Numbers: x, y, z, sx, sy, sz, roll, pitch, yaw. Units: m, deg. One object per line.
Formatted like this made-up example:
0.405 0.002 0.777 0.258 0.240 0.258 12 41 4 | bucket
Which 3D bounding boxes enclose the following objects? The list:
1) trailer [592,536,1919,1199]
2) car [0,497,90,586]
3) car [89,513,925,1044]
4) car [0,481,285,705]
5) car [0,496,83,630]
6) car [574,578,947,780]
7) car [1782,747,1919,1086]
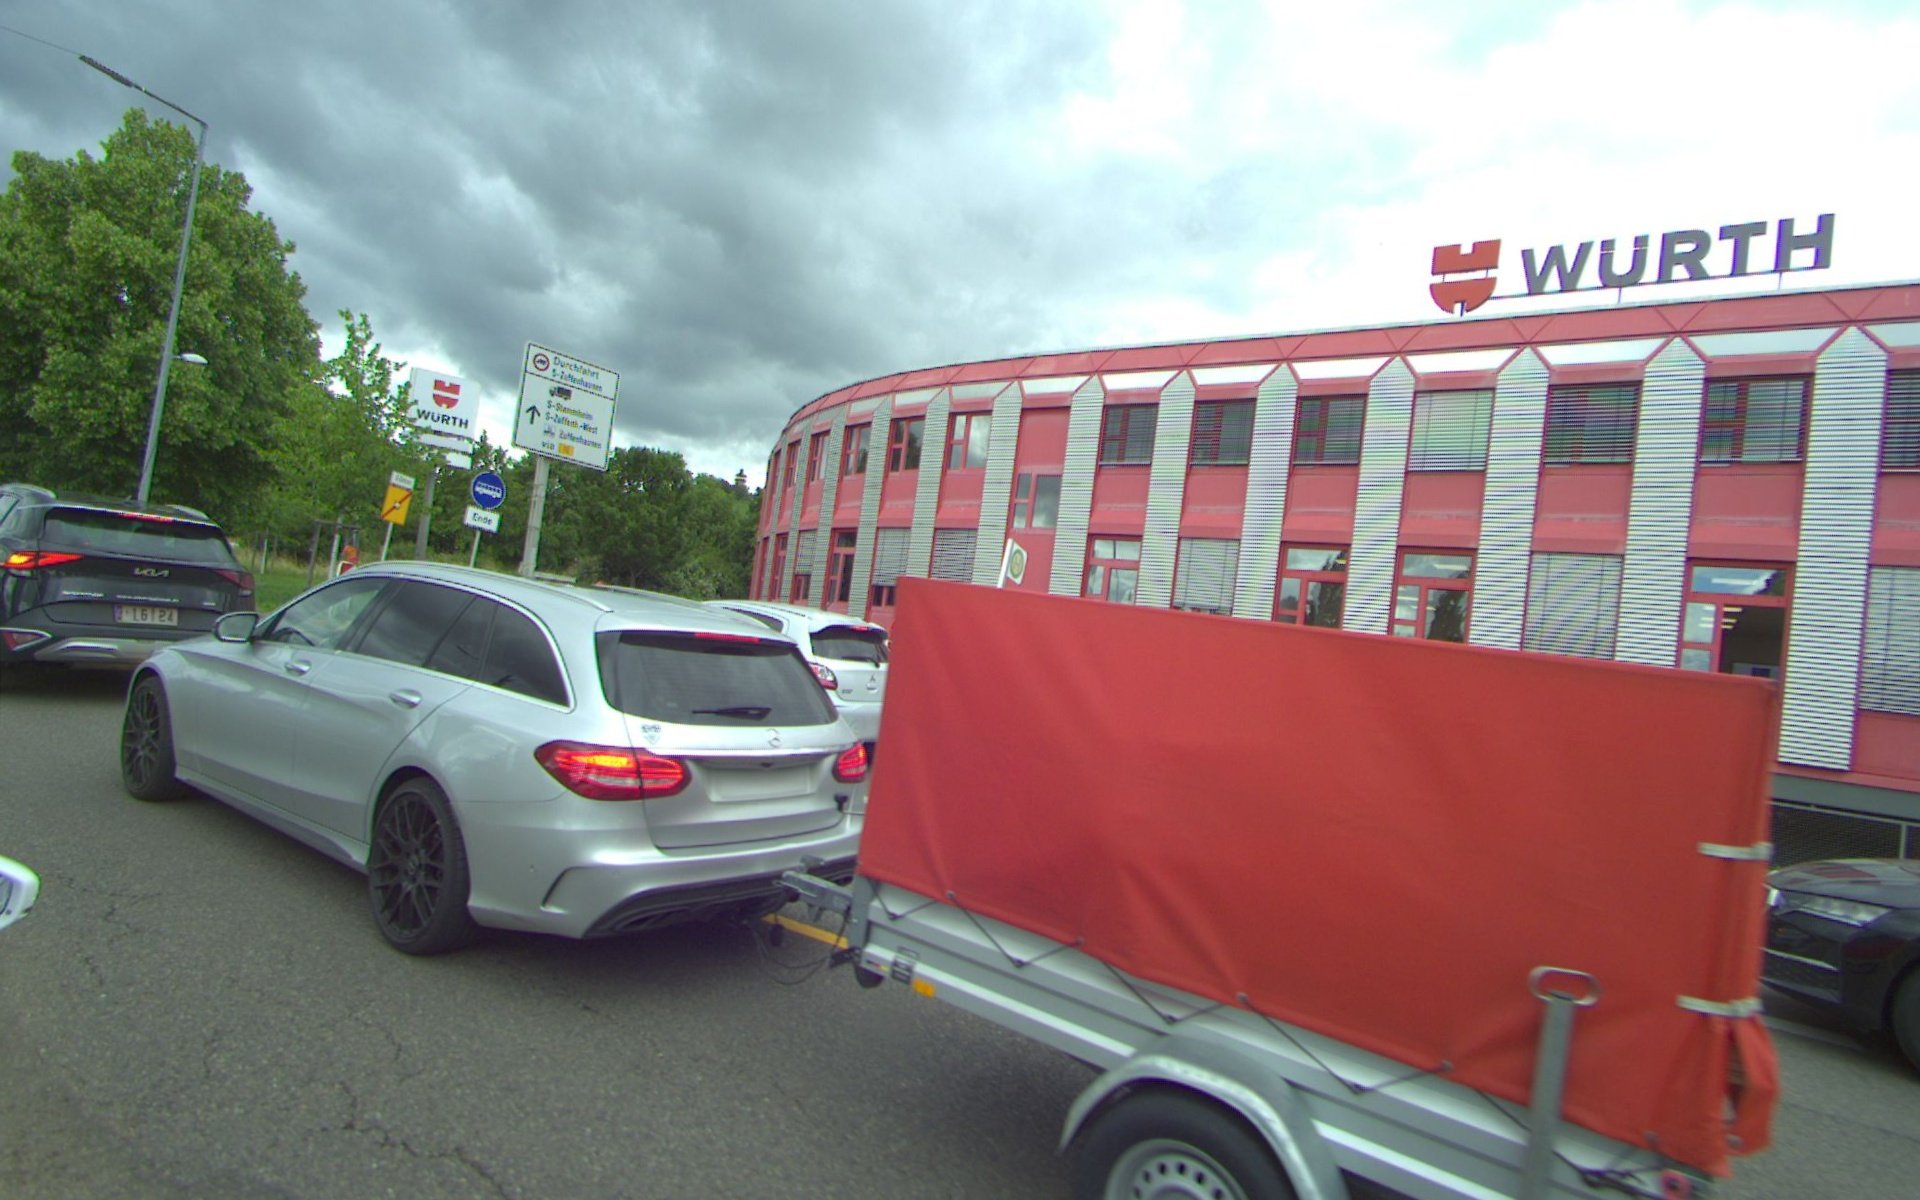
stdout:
0.640 0.824 2.899 3.250 1.613 1.410 7 -1 34 | trailer
-20.128 -1.344 21.267 3.007 1.588 1.575 7 -3 30 | car
-2.512 0.528 5.070 4.418 1.464 1.673 7 -2 34 | car
-8.063 -0.173 9.143 4.338 1.580 1.844 7 -1 38 | car
-13.229 -0.665 13.011 4.250 1.542 1.709 6 -1 34 | car
-2.146 0.744 10.422 3.631 1.474 1.624 7 -1 36 | car
6.280 1.721 4.211 4.215 1.449 1.836 7 -1 38 | car
